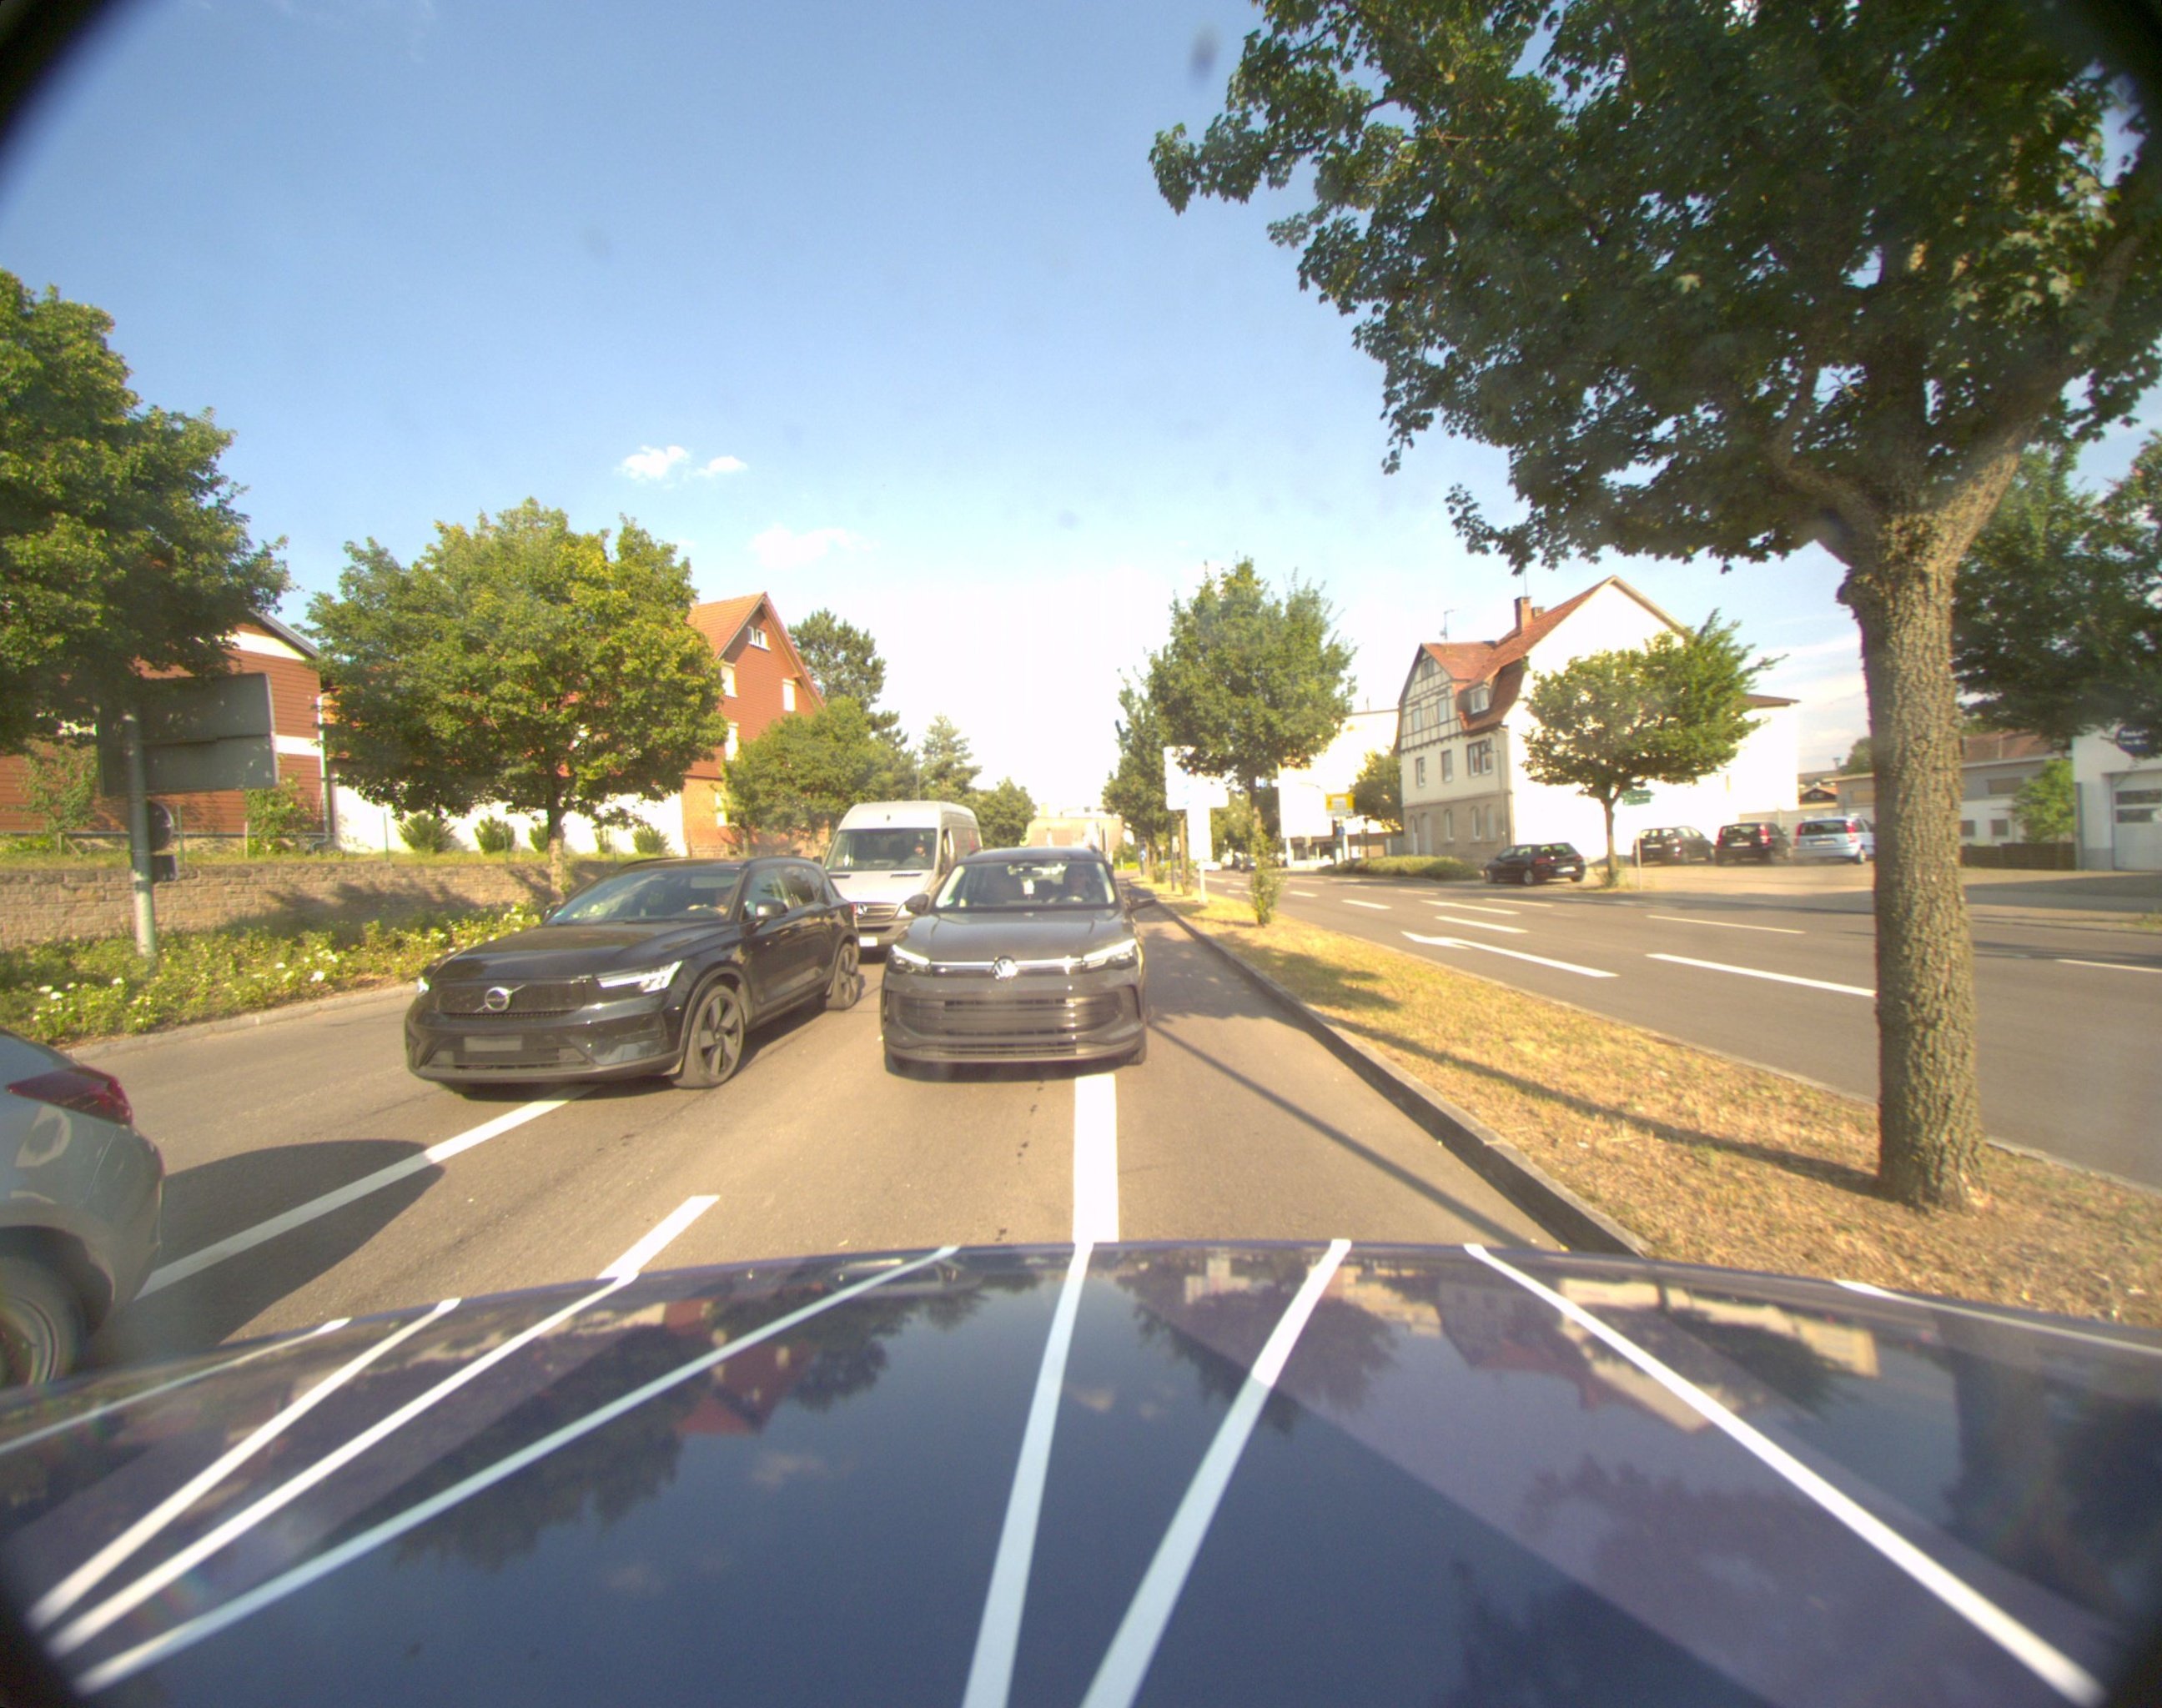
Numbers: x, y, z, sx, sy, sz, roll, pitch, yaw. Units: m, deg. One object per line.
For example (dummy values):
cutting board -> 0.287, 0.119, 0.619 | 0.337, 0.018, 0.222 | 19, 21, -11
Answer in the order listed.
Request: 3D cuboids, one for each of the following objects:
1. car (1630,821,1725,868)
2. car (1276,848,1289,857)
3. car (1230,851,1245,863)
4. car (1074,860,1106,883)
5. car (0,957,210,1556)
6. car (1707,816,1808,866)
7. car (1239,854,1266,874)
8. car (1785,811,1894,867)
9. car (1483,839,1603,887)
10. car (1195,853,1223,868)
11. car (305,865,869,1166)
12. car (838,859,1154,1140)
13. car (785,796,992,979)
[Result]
car -> 23.389, -0.387, 29.764 | 3.830, 1.493, 1.816 | -5, 0, -35
car -> 37.074, -0.279, 139.882 | 1.779, 1.683, 4.006 | -2, 0, 23
car -> 23.147, 0.403, 112.177 | 1.779, 1.683, 4.004 | -2, 0, 16
car -> 0.749, 1.352, 61.021 | 1.784, 1.664, 4.003 | -2, 0, 12
car -> -3.606, 1.062, 0.195 | 1.766, 1.445, 4.318 | -1, 0, 0
car -> 24.667, -0.485, 27.667 | 3.830, 1.493, 1.816 | -5, 0, -35
car -> 15.338, 0.874, 68.181 | 1.781, 1.683, 4.001 | -2, 0, 4
car -> 24.889, -0.499, 24.902 | 3.830, 1.493, 1.816 | -5, 0, -35
car -> 16.043, 0.284, 26.630 | 1.818, 1.442, 3.825 | -5, 0, 1
car -> 14.594, 0.702, 86.364 | 1.778, 1.460, 4.382 | -2, 0, 29
car -> -3.391, 0.949, 6.443 | 1.845, 1.600, 4.318 | -1, 0, 2
car -> -0.443, 0.875, 6.631 | 1.845, 1.600, 4.318 | -1, 0, 2
car -> -3.063, 0.455, 13.704 | 1.992, 2.554, 6.046 | -1, 0, 2
